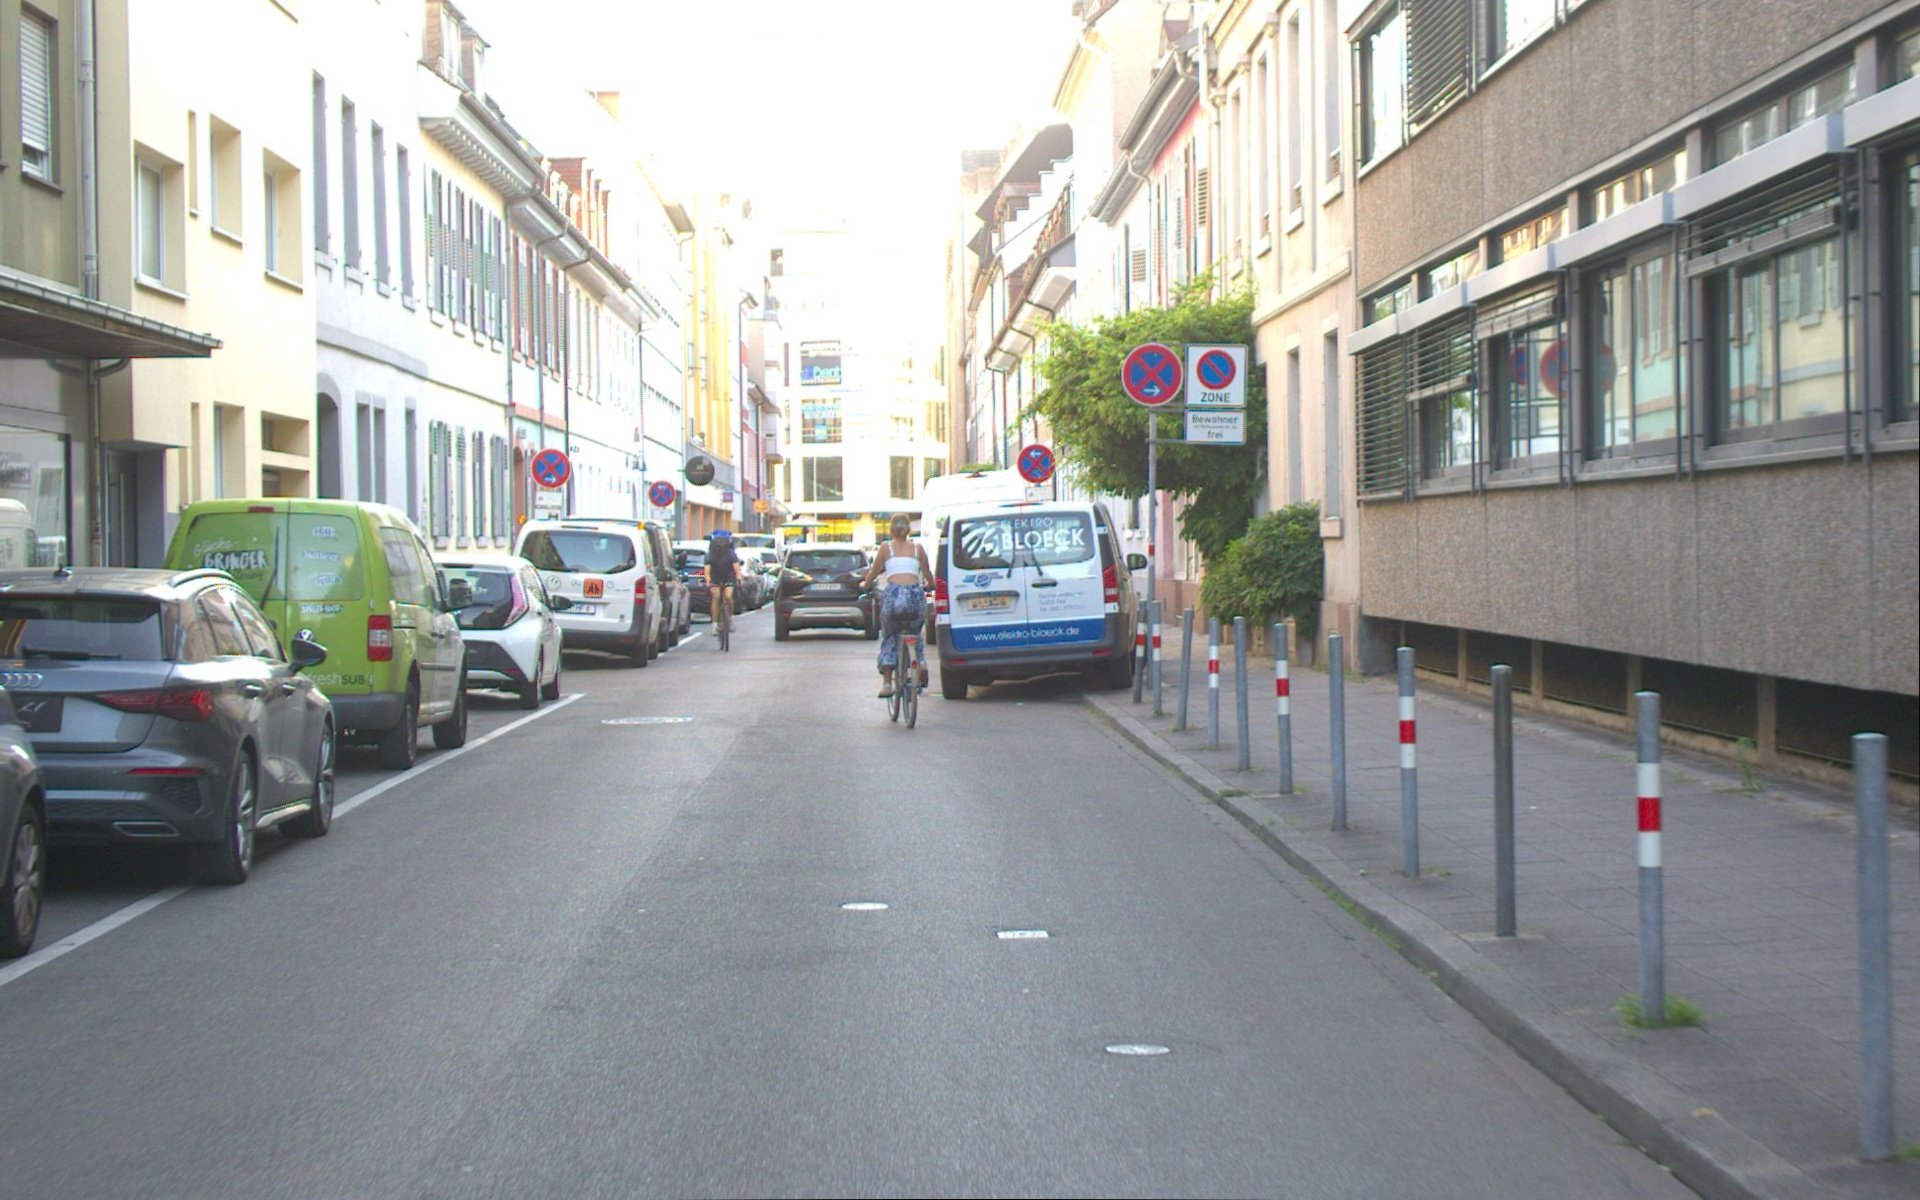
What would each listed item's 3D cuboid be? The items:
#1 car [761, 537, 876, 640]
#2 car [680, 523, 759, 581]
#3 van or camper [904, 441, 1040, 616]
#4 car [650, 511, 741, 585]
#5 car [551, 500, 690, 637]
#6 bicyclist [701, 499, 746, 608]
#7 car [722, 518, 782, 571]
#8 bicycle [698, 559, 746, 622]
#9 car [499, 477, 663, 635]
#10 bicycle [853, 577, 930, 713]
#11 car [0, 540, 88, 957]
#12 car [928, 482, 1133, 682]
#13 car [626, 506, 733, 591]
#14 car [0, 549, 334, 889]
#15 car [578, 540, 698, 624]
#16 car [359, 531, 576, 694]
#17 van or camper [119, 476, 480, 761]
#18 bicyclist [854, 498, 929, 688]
[{"bbox_3d":[-2.324,-0.221,57.077,1.819,1.612,4.001,1,1,-2],"label":"car"},{"bbox_3d":[-6.164,-1.248,88.490,1.918,1.429,4.294,1,1,-3],"label":"car"},{"bbox_3d":[0.164,-1.171,55.704,2.050,2.628,7.063,-1,1,0],"label":"van or camper"},{"bbox_3d":[-6.280,-1.253,82.100,1.997,1.701,4.536,1,1,-3],"label":"car"},{"bbox_3d":[-5.215,-0.525,53.286,1.862,2.007,4.815,-1,1,-3],"label":"car"},{"bbox_3d":[-3.573,-0.708,52.038,0.623,1.634,1.081,0,1,-1],"label":"bicyclist"},{"bbox_3d":[-6.333,-1.711,105.032,1.653,1.555,3.606,1,1,-1],"label":"car"},{"bbox_3d":[-3.592,-0.157,52.027,0.634,0.919,1.779,0,1,-1],"label":"bicycle"},{"bbox_3d":[-5.102,-0.630,46.812,1.862,2.007,5.107,-1,1,-3],"label":"car"},{"bbox_3d":[-0.565,0.357,28.659,0.613,1.078,1.809,0,1,0],"label":"bicycle"},{"bbox_3d":[-4.223,0.553,11.584,1.624,1.479,3.878,-1,1,-1],"label":"car"},{"bbox_3d":[0.747,-0.237,35.625,1.936,1.891,5.277,-1,1,2],"label":"car"},{"bbox_3d":[-5.747,-1.080,70.854,1.803,1.671,4.490,-1,1,0],"label":"car"},{"bbox_3d":[-4.095,0.477,16.523,1.624,1.411,3.981,0,1,-3],"label":"car"},{"bbox_3d":[-5.609,-0.337,60.268,1.765,1.397,4.263,0,1,-1],"label":"car"},{"bbox_3d":[-4.803,0.079,33.934,1.662,1.444,3.521,3,1,-2],"label":"car"},{"bbox_3d":[-4.614,0.076,24.597,1.772,1.842,4.179,-1,1,0],"label":"van or camper"},{"bbox_3d":[-0.568,-0.066,28.683,0.621,1.569,0.683,0,1,0],"label":"bicyclist"}]
